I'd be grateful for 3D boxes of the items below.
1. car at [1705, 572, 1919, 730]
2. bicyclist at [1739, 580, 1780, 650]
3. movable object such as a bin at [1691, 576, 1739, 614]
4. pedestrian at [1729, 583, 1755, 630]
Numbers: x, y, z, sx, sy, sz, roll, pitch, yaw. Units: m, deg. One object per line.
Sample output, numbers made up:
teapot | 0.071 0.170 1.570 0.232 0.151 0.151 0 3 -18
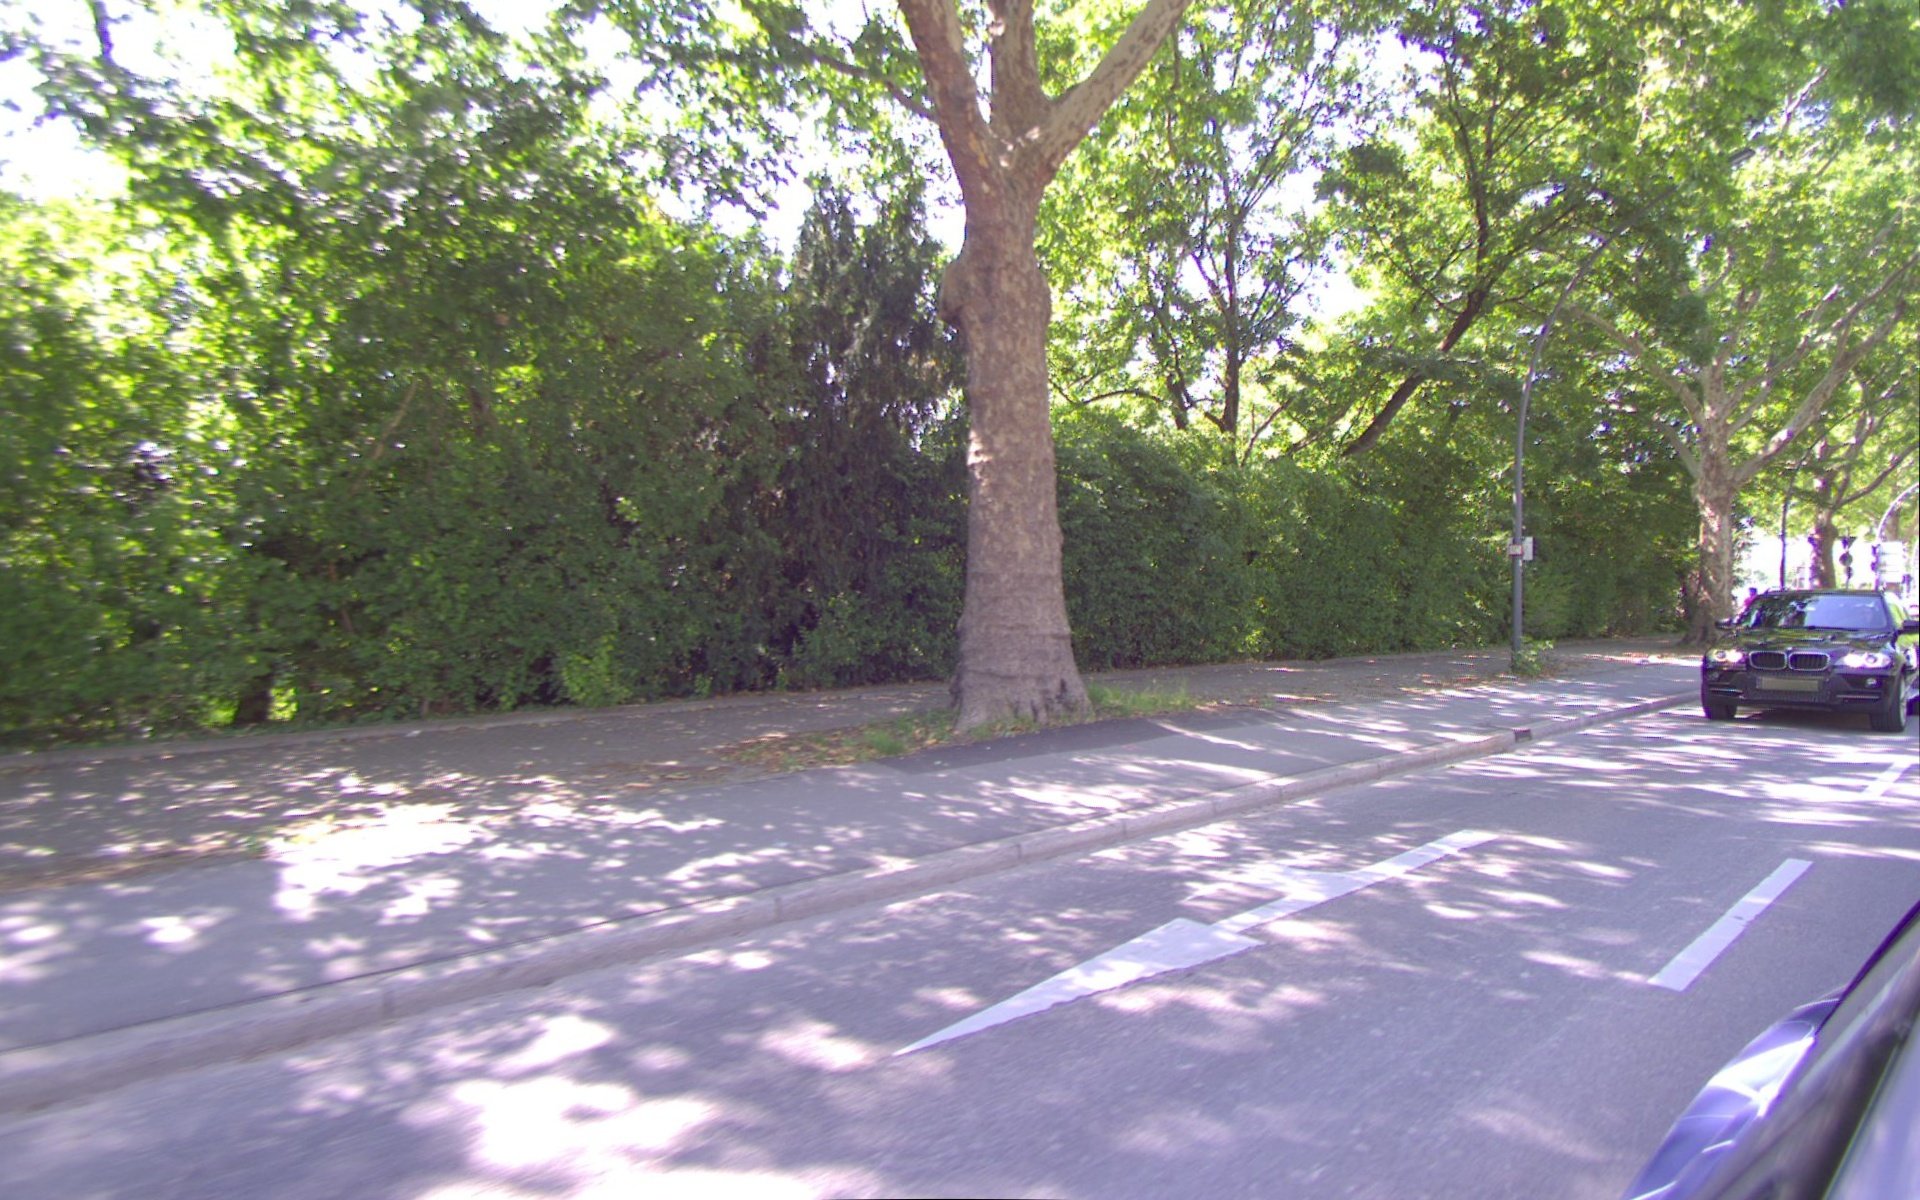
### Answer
car | 11.518 0.563 13.352 4.080 1.752 1.922 0 0 -42
bicyclist | 19.009 0.343 24.054 0.720 1.620 0.620 1 1 -43
movable object such as a bin | 63.354 -0.378 84.845 5.887 3.111 2.370 0 -1 -45
pedestrian | 30.472 0.237 39.443 0.859 1.808 0.633 0 -1 -42
